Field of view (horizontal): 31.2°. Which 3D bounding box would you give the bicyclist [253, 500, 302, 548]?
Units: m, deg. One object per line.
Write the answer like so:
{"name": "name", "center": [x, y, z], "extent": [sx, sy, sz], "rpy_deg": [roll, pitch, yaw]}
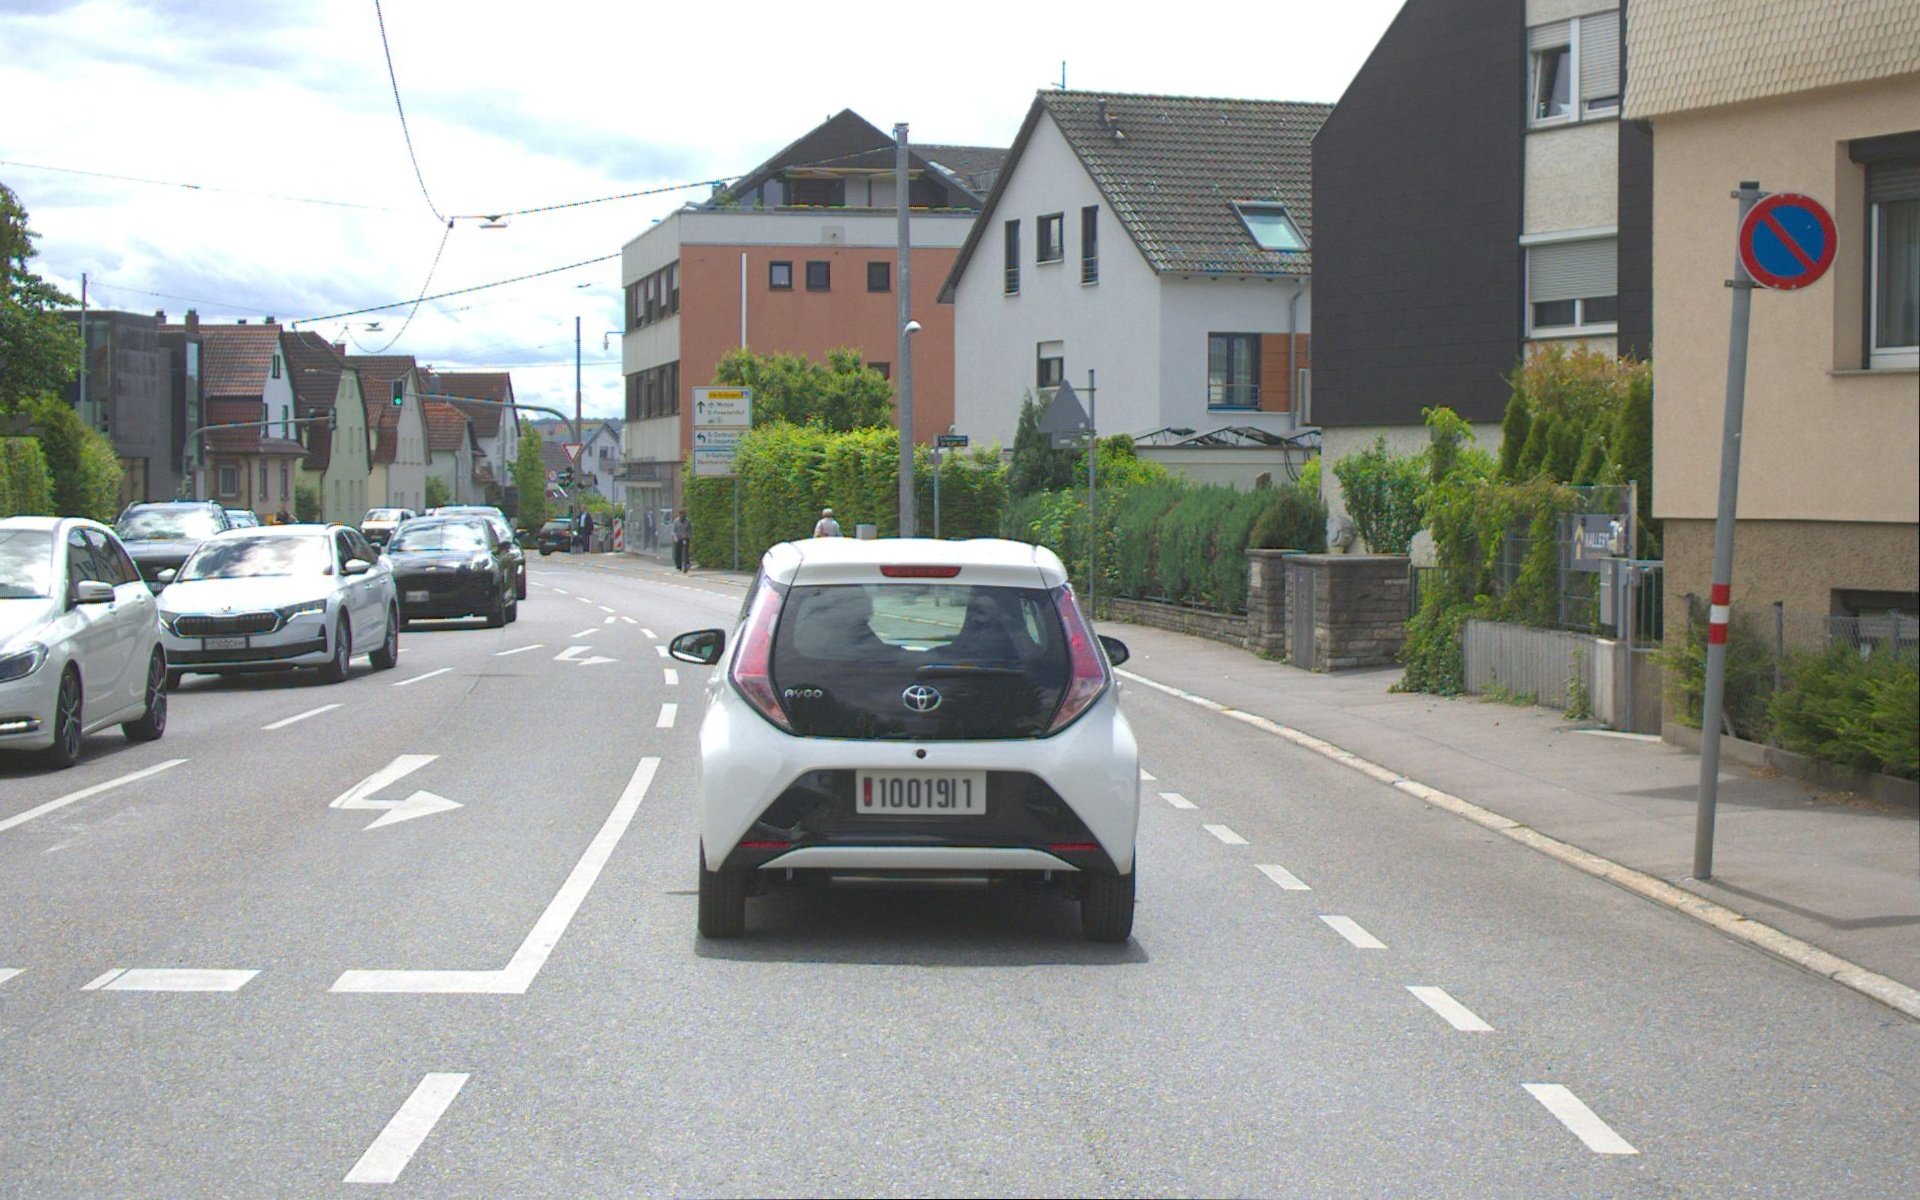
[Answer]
{"name": "bicyclist", "center": [-19.476, -2.161, 98.076], "extent": [1.114, 1.331, 1.633], "rpy_deg": [-3, 1, -19]}

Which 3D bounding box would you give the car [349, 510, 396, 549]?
{"name": "car", "center": [-27.078, -3.253, 158.582], "extent": [1.993, 1.678, 4.001], "rpy_deg": [2, 1, -9]}

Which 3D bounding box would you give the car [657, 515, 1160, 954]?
{"name": "car", "center": [-0.350, 0.426, 13.976], "extent": [1.620, 1.481, 4.001], "rpy_deg": [1, 2, -7]}

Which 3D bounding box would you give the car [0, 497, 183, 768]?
{"name": "car", "center": [-6.290, 0.168, 21.888], "extent": [1.775, 1.556, 4.170], "rpy_deg": [-2, 1, -1]}

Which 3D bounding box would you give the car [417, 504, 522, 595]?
{"name": "car", "center": [-8.943, -0.937, 62.752], "extent": [1.774, 1.547, 4.010], "rpy_deg": [-2, 1, -8]}

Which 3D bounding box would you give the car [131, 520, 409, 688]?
{"name": "car", "center": [-6.463, -0.018, 32.642], "extent": [1.775, 1.425, 4.523], "rpy_deg": [-2, 1, -1]}

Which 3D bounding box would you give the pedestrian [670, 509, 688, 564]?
{"name": "pedestrian", "center": [-7.350, -1.655, 89.840], "extent": [0.413, 1.433, 0.438], "rpy_deg": [1, 2, -9]}

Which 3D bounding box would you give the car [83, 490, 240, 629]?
{"name": "car", "center": [-11.328, -0.603, 48.987], "extent": [1.774, 1.840, 4.010], "rpy_deg": [-2, 2, -8]}

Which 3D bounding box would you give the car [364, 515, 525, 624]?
{"name": "car", "center": [-7.008, -0.445, 47.058], "extent": [1.775, 1.425, 4.009], "rpy_deg": [0, 1, -3]}

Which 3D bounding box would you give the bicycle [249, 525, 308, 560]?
{"name": "bicycle", "center": [-19.455, -1.643, 98.041], "extent": [1.114, 0.933, 3.789], "rpy_deg": [-3, 2, -19]}

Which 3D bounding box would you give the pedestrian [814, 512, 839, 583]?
{"name": "pedestrian", "center": [-2.758, -1.082, 70.912], "extent": [0.413, 1.433, 0.438], "rpy_deg": [1, 2, -14]}
